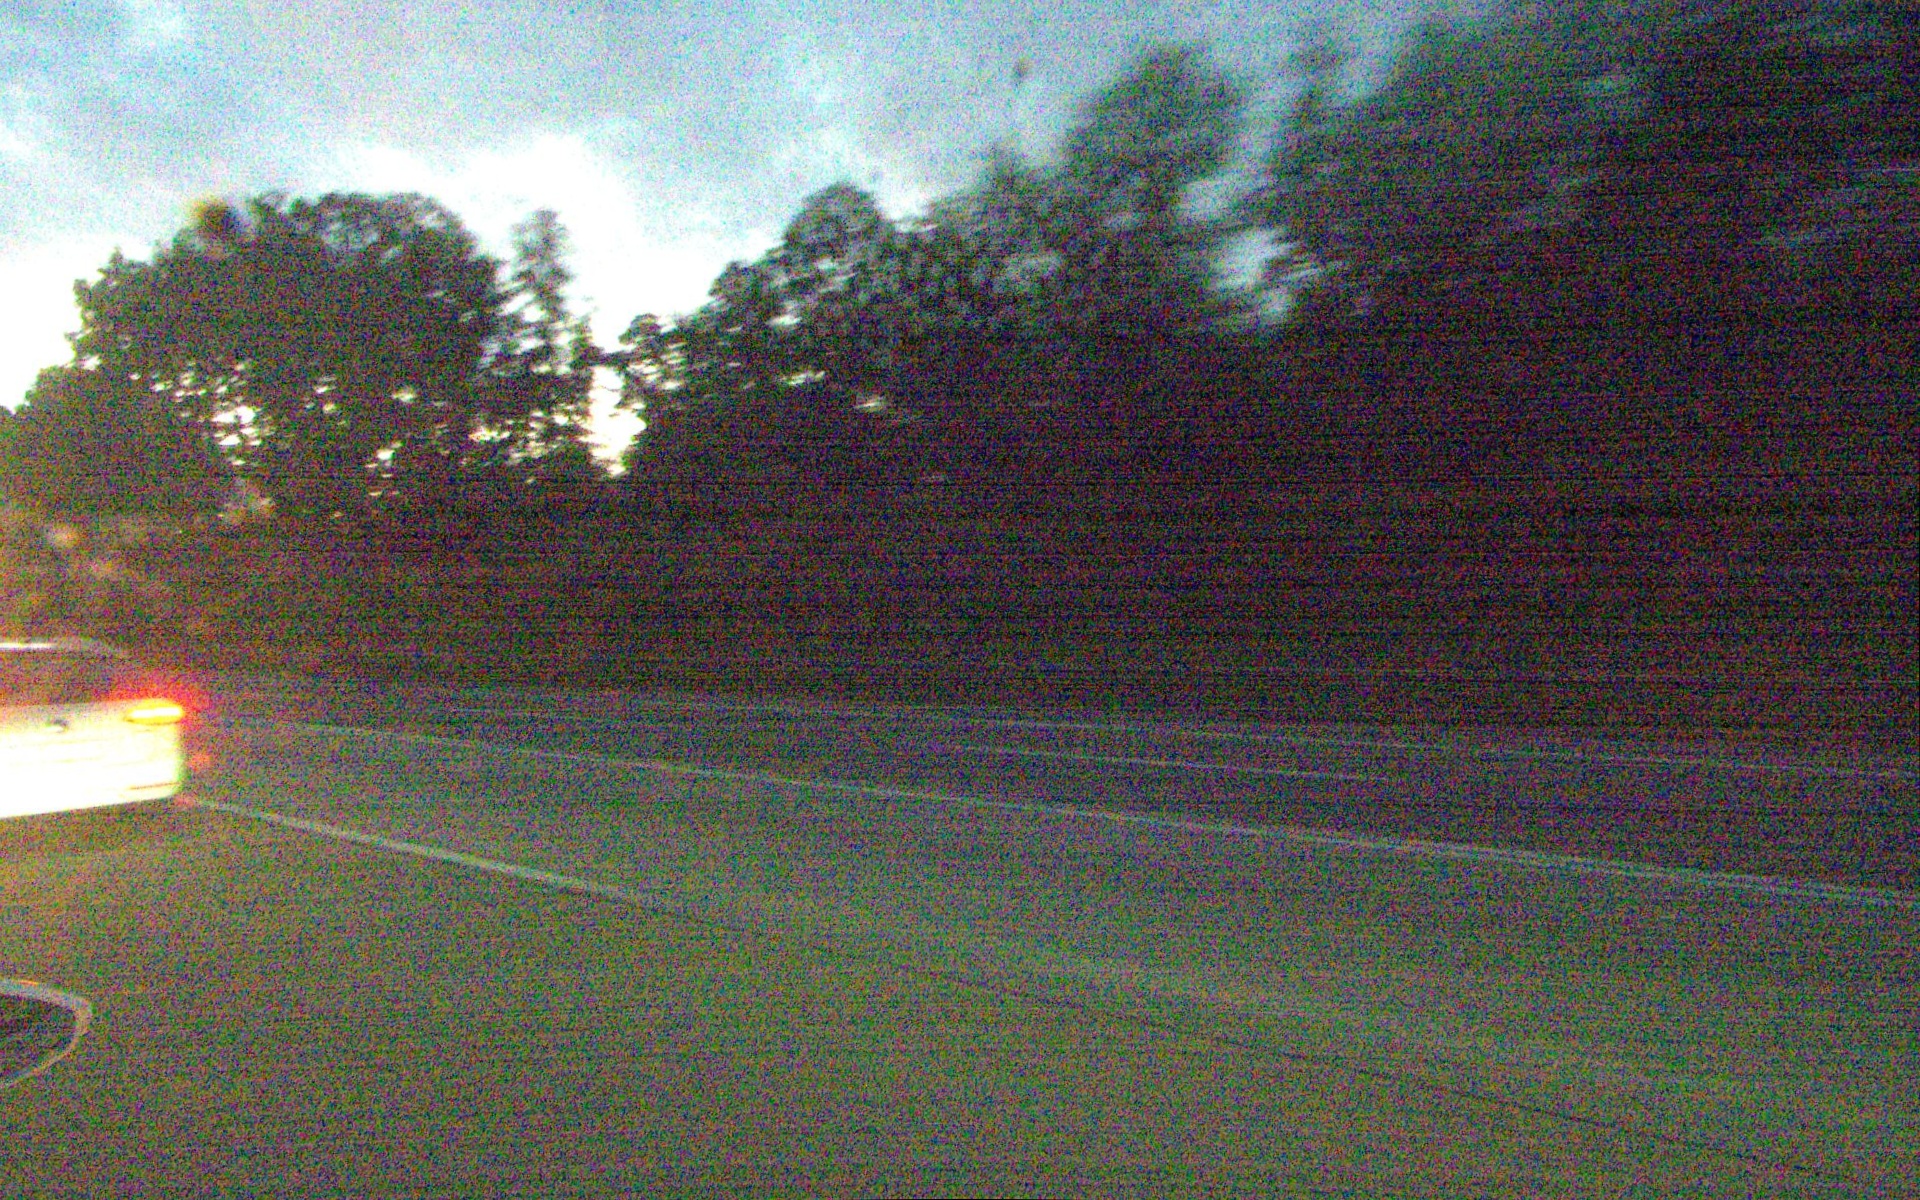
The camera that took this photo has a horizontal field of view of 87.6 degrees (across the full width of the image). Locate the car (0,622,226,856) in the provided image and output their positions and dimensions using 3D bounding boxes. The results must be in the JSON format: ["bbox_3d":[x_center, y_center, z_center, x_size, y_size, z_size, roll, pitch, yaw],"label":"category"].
[{"bbox_3d":[-8.147,0.937,8.179,5.059,1.485,1.805,0,-1,33],"label":"car"}]
